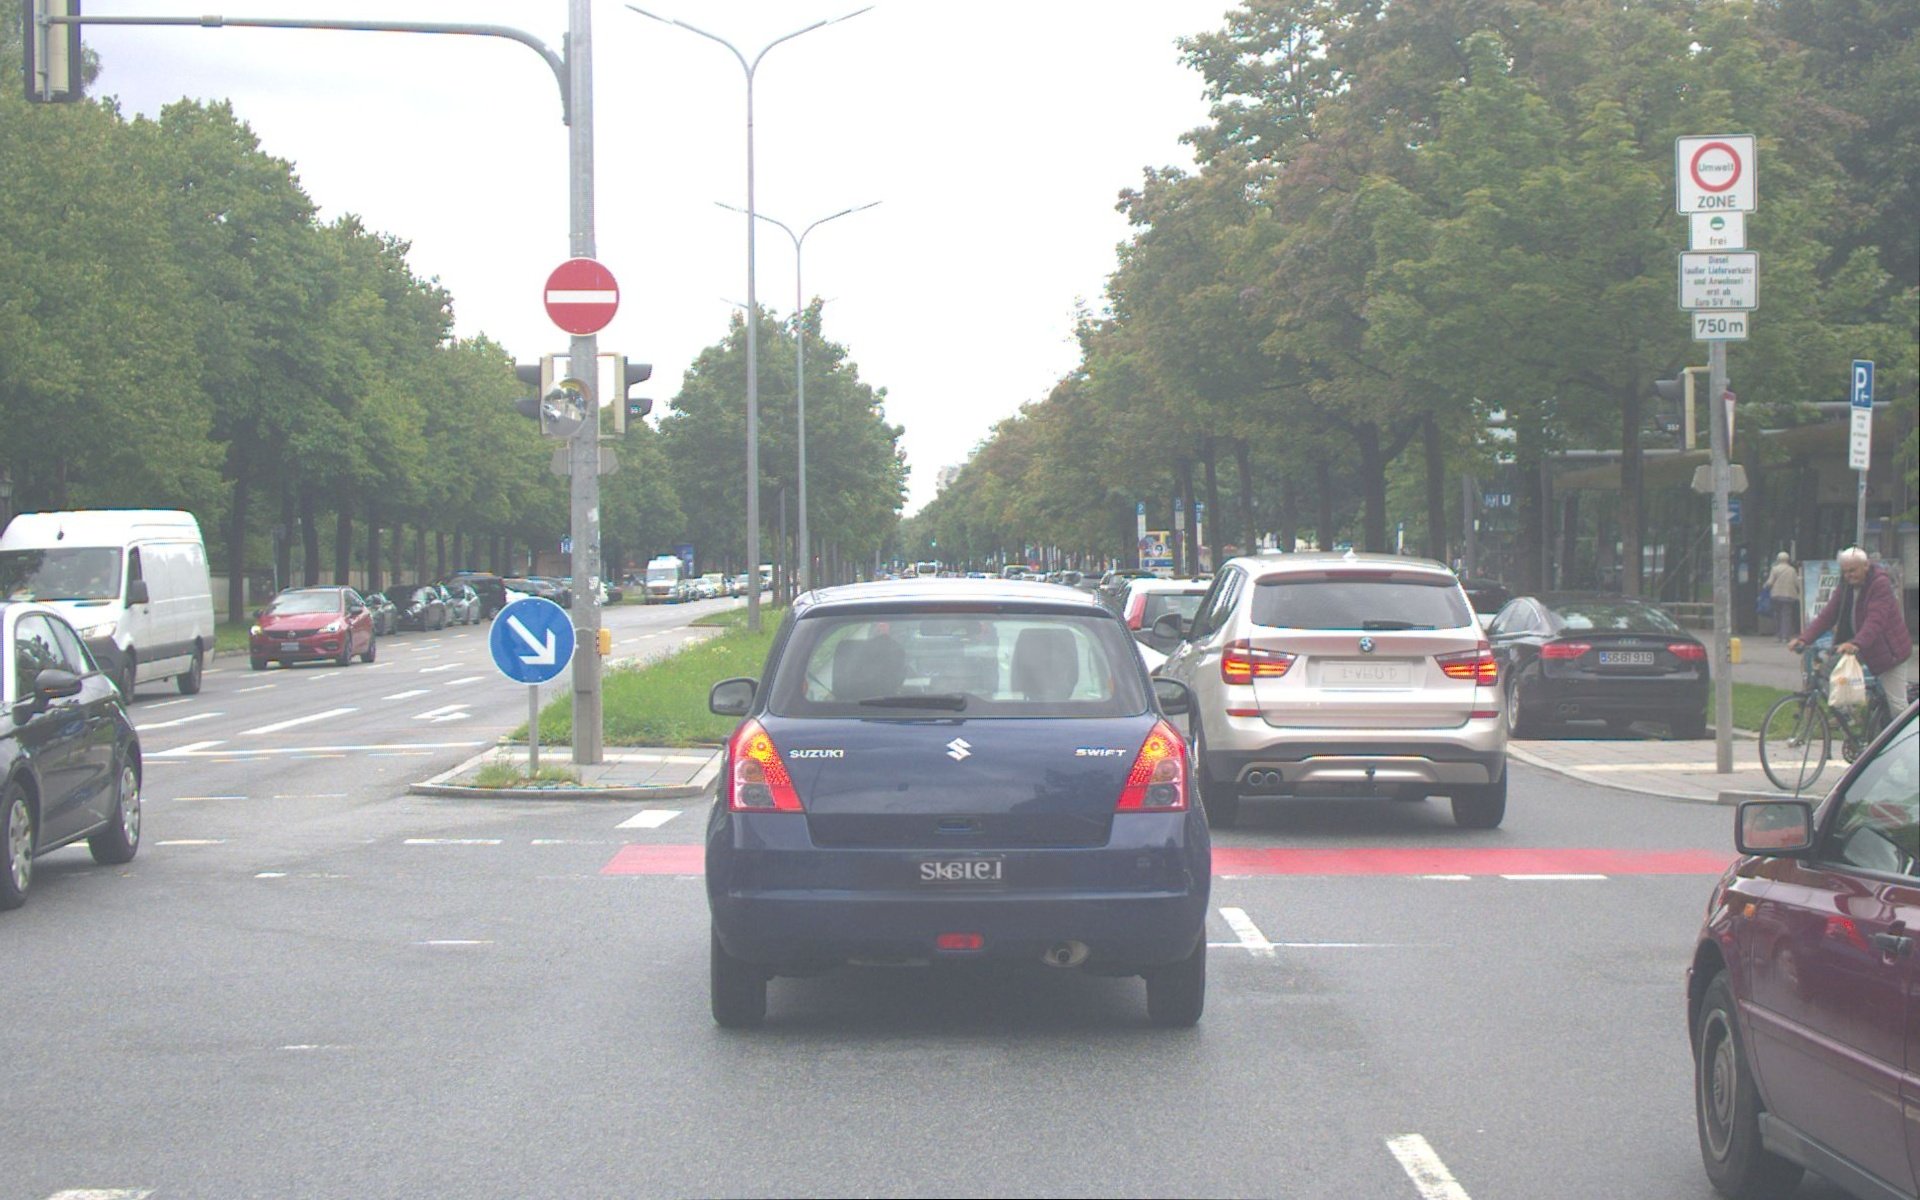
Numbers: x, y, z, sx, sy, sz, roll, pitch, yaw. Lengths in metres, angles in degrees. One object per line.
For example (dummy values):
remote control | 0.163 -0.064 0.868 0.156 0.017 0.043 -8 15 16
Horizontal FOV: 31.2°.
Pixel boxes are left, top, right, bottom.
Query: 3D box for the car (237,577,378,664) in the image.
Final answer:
car | -12.079 0.352 63.868 1.743 1.447 4.658 -3 1 -1

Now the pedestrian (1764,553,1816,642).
pedestrian | 14.184 -0.049 58.752 0.578 1.508 0.694 0 0 -19

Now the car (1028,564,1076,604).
car | 3.809 -0.663 142.462 1.764 1.646 4.424 0 0 -1

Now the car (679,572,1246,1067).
car | -0.073 0.679 12.918 1.789 1.550 4.000 -1 0 -2

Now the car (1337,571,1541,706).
car | 5.748 0.425 41.738 1.712 1.542 4.382 -1 0 -2

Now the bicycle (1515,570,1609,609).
bicycle | 17.144 -0.307 97.921 2.542 1.085 0.647 -1 0 -1

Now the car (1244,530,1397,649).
car | 5.431 -0.187 52.305 1.747 1.718 4.906 0 1 -1

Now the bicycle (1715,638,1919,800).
bicycle | 6.372 0.834 24.696 1.941 1.077 0.748 -1 0 -36

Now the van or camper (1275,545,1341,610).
van or camper | 13.973 -0.924 138.249 1.993 2.549 5.957 -1 1 0

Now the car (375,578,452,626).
car | -17.721 0.049 111.648 1.571 1.498 4.303 1 1 3

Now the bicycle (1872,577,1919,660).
bicycle | 14.419 0.216 49.586 2.338 1.153 0.529 -3 1 -1

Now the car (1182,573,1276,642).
car | 6.021 0.147 77.442 1.717 1.503 4.224 0 0 -1

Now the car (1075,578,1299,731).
car | 2.256 0.512 35.206 1.850 1.442 4.098 -1 0 -2

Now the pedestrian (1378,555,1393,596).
pedestrian | 18.186 -1.061 146.940 0.575 1.745 0.732 -1 0 4

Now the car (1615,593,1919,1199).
car | 2.577 0.723 7.038 1.622 1.449 3.950 0 0 -1

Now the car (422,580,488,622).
car | -18.148 0.029 123.723 1.636 1.434 4.809 1 1 0

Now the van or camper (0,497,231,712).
van or camper | -11.706 0.034 46.619 2.178 2.638 6.951 -2 1 -1

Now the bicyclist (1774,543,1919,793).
bicyclist | 6.433 0.477 24.740 0.825 1.758 0.746 -1 0 -36

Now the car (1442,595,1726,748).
car | 5.979 0.645 33.447 1.710 1.356 4.622 0 0 -3

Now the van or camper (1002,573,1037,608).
van or camper | 3.439 -0.563 198.638 1.944 1.968 4.306 0 0 0

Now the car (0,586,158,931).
car | -5.044 0.693 16.423 1.639 1.482 3.781 -1 0 -2

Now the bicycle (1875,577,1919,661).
bicycle | 14.195 0.223 48.670 2.338 1.153 0.529 -3 1 -9

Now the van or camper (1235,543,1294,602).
van or camper | 13.730 -1.249 155.278 2.024 2.549 5.957 -1 1 0

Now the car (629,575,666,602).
car | -18.448 -0.697 202.951 1.913 1.537 4.188 -1 1 -2

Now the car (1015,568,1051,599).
car | 3.637 -0.831 171.213 1.684 1.520 4.456 1 0 0

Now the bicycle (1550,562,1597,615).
bicycle | 14.997 -0.284 84.037 0.645 1.276 2.550 -1 0 -1

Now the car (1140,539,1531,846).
car | 2.261 0.510 21.742 1.850 1.737 4.098 -1 0 -2

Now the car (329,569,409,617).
car | -17.778 -0.237 103.580 1.659 1.391 4.707 1 1 -1
